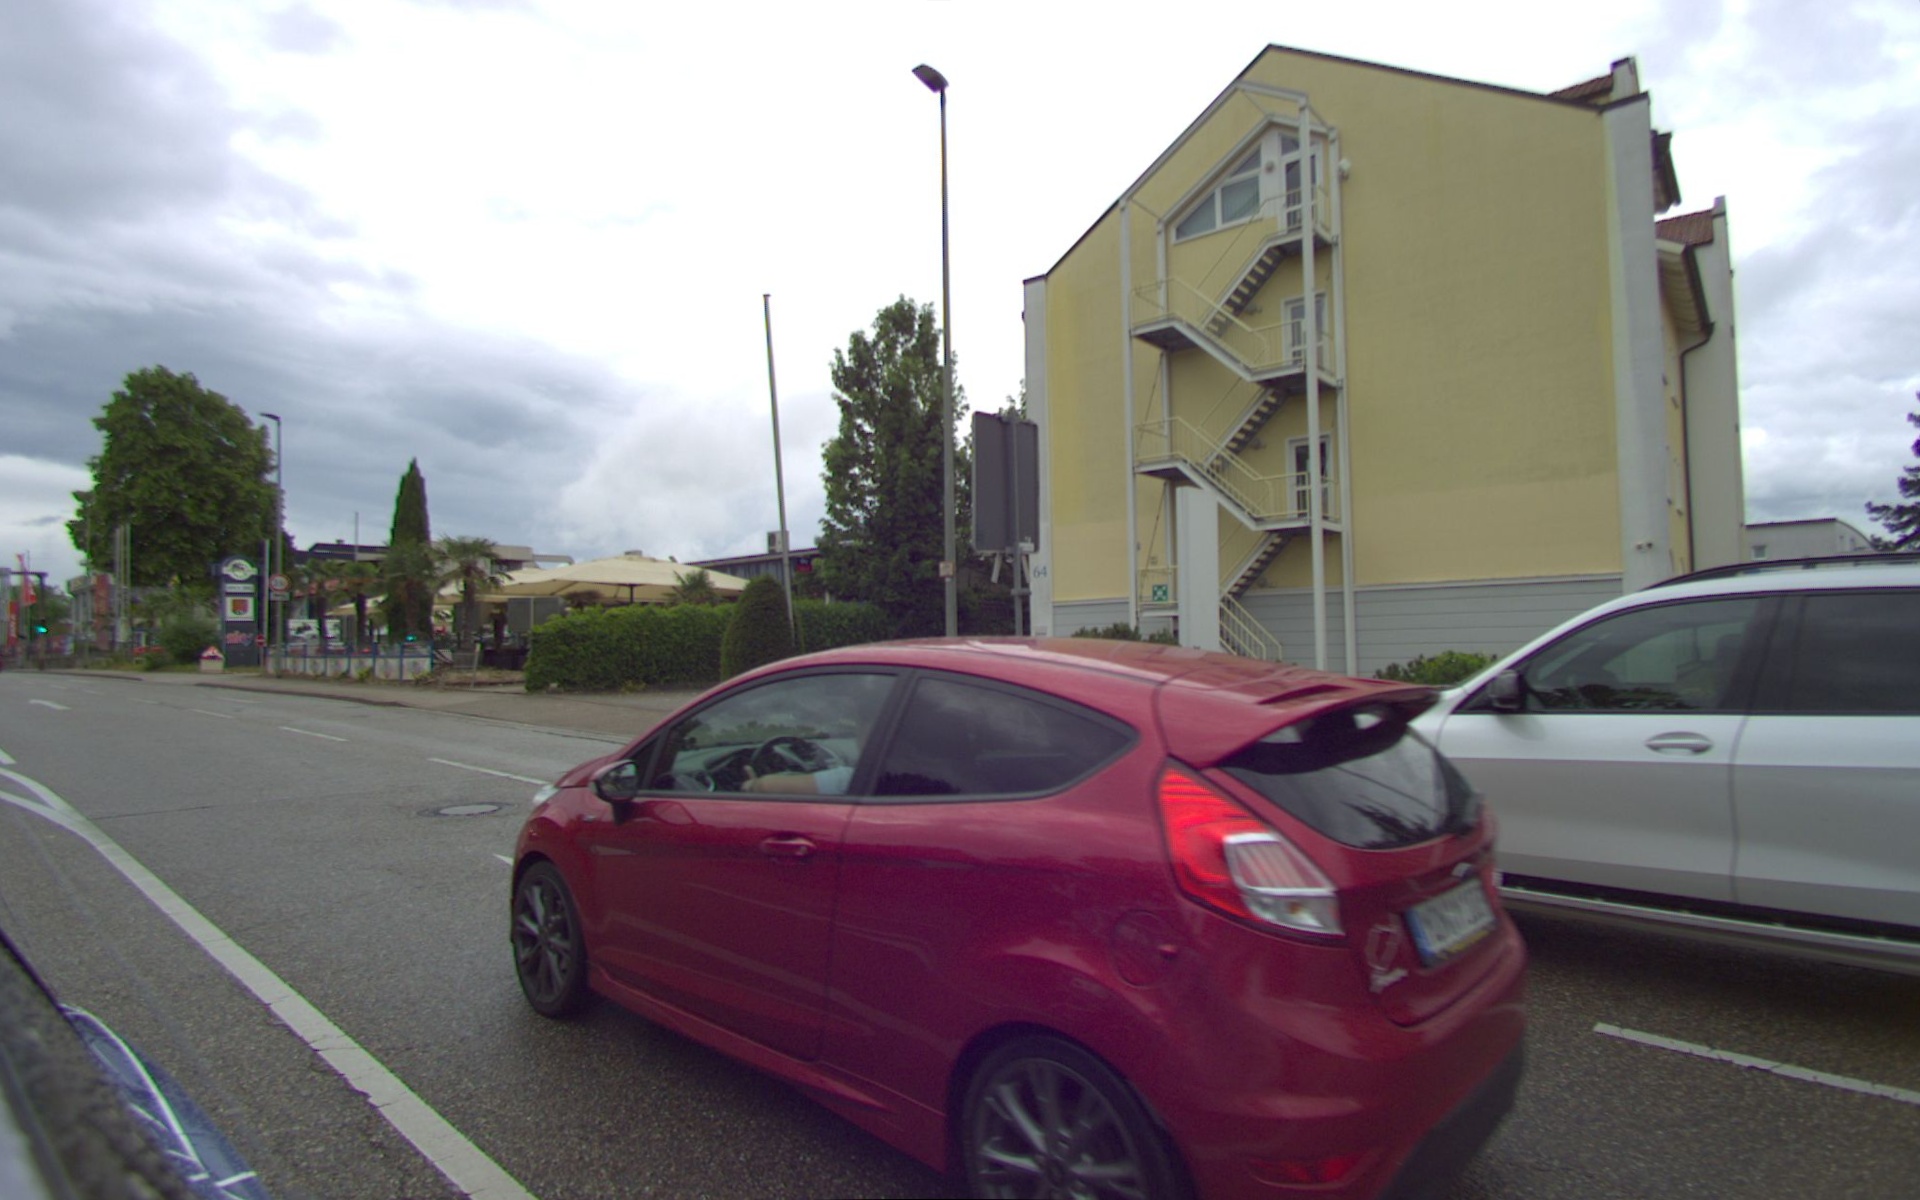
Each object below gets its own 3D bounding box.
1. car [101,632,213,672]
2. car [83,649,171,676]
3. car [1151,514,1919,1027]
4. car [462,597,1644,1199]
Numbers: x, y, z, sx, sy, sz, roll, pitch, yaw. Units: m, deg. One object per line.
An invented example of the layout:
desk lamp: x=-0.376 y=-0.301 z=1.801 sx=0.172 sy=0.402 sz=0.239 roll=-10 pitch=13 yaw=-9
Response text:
car: x=-43.012 y=2.847 z=54.345 sx=1.980 sy=2.029 sz=4.380 roll=-2 pitch=-4 yaw=14
car: x=-48.092 y=3.587 z=58.488 sx=3.556 sy=1.515 sz=1.670 roll=1 pitch=-3 yaw=-19
car: x=3.588 y=0.647 z=4.589 sx=5.142 sy=1.776 sz=1.896 roll=-2 pitch=-4 yaw=43
car: x=-0.073 y=0.792 z=3.506 sx=3.840 sy=1.430 sz=1.663 roll=-2 pitch=-4 yaw=43
